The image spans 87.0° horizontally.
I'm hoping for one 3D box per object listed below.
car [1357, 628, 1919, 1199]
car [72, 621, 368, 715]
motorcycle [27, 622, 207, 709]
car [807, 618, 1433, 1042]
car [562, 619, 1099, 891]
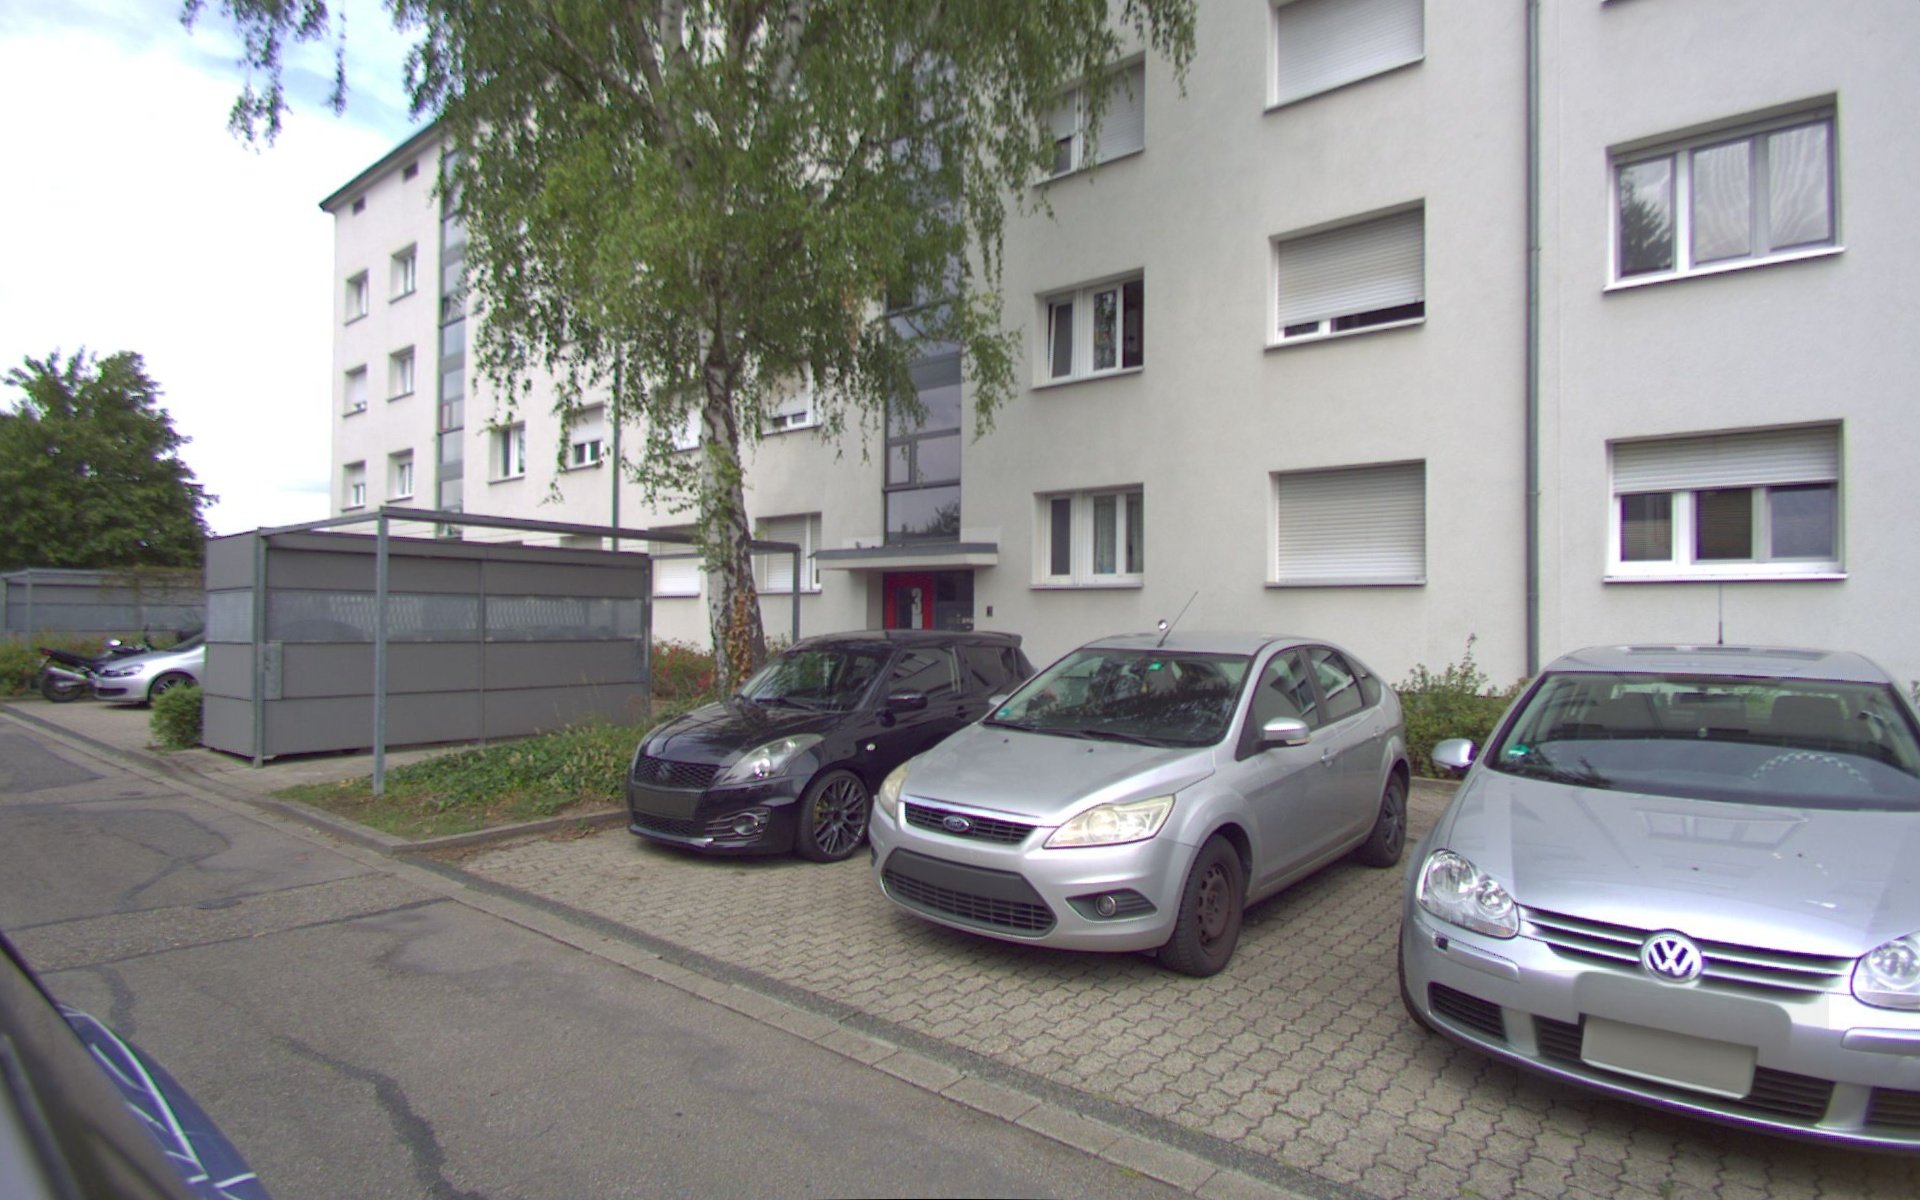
[{"bbox_3d":[3.187,0.887,4.175,1.780,1.475,4.011,-1,-3,39],"label":"car"},{"bbox_3d":[-13.269,1.219,18.333,1.901,1.497,3.945,-1,-4,41],"label":"car"},{"bbox_3d":[-15.316,1.192,18.462,0.713,1.475,2.353,-1,-4,39],"label":"motorcycle"},{"bbox_3d":[1.229,0.906,5.785,1.780,1.516,4.011,-1,-3,39],"label":"car"},{"bbox_3d":[-0.731,0.950,7.828,1.780,1.516,4.011,-1,-3,39],"label":"car"}]
